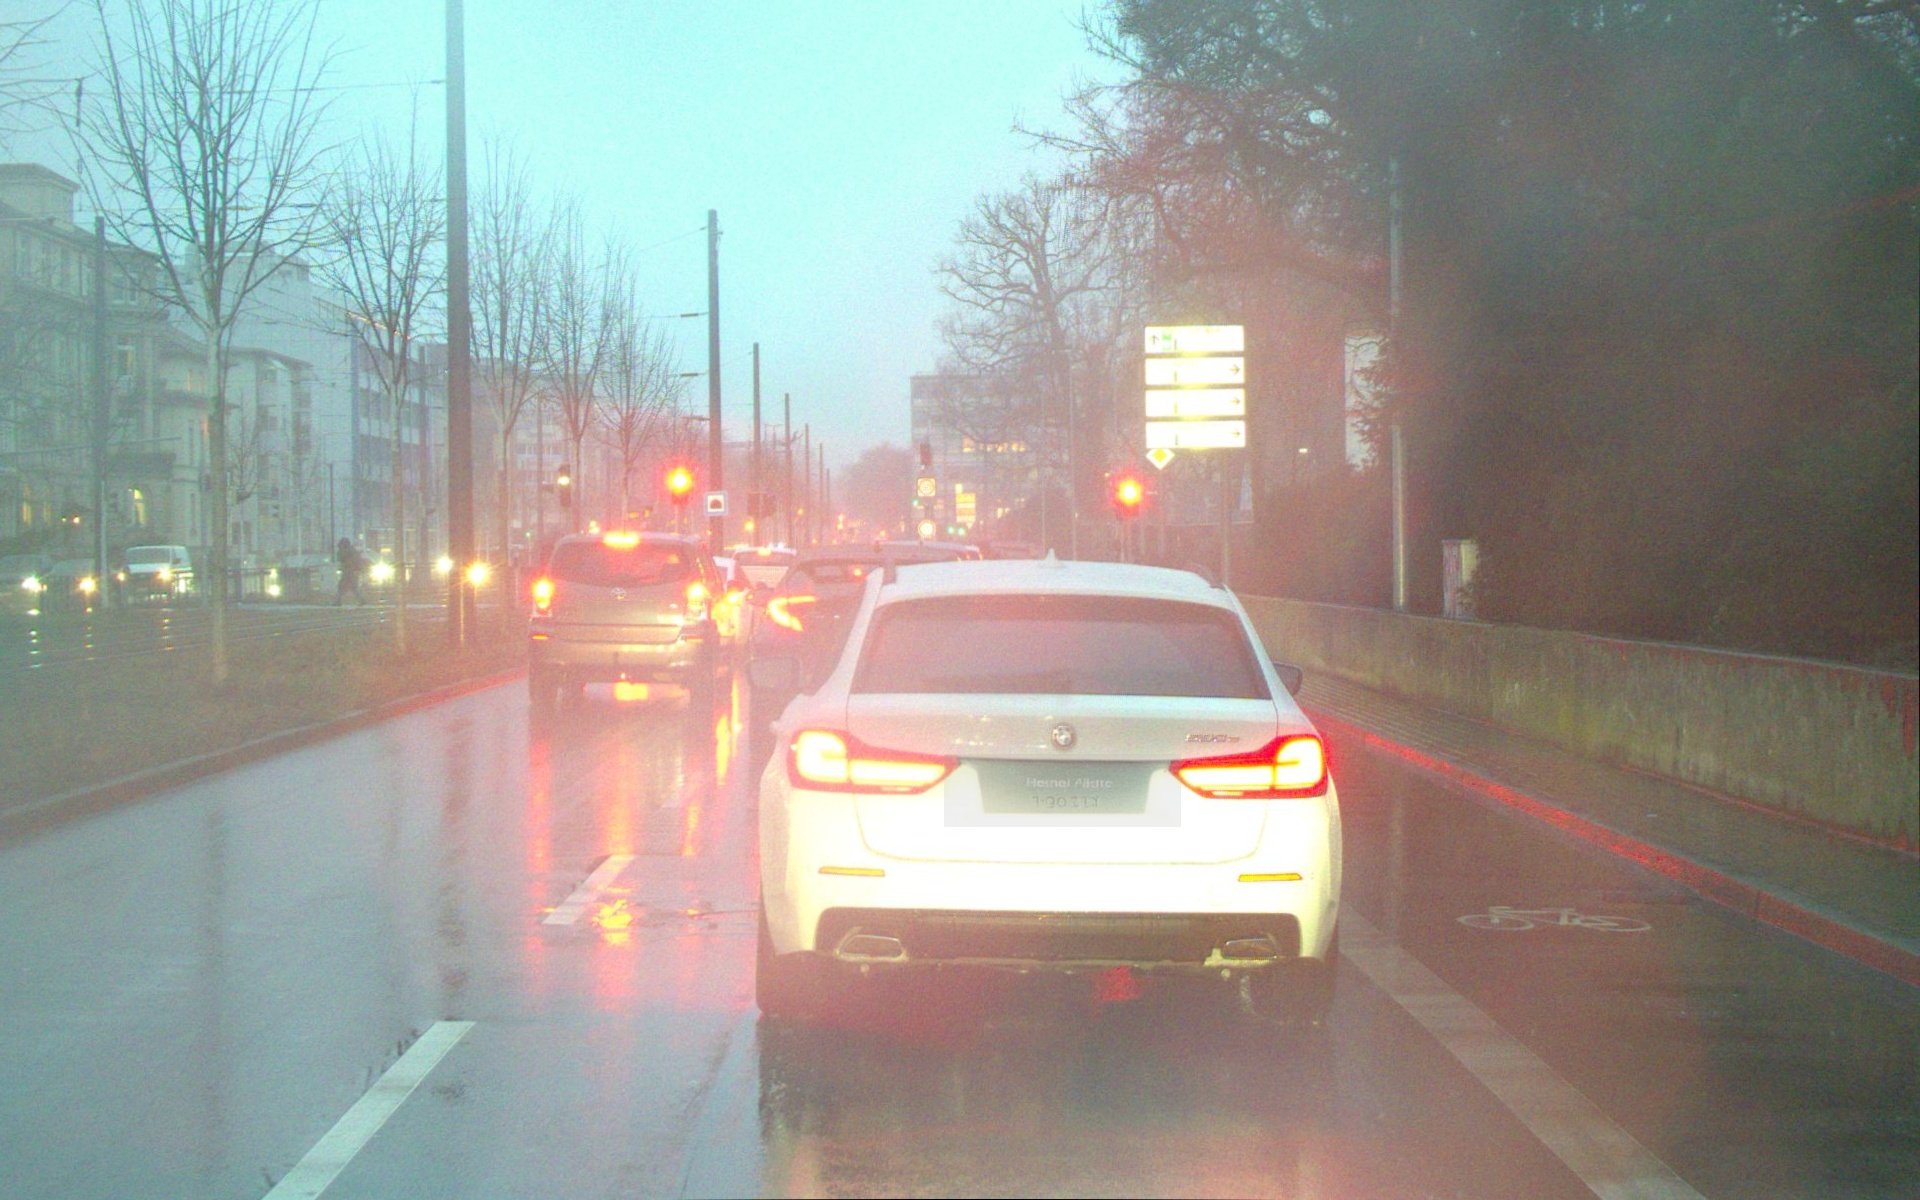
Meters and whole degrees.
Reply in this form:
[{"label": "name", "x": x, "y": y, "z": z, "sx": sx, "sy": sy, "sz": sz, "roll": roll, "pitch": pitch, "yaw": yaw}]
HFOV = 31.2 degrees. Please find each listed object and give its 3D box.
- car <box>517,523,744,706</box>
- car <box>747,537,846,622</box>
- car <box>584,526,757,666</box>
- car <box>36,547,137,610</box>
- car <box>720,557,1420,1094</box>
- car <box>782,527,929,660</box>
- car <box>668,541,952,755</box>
[{"label": "car", "x": -3.116, "y": 0.093, "z": 33.203, "sx": 1.806, "sy": 1.640, "sz": 4.000, "roll": 1, "pitch": 1, "yaw": 0}, {"label": "car", "x": -3.266, "y": -0.436, "z": 69.349, "sx": 1.806, "sy": 1.640, "sz": 4.000, "roll": 1, "pitch": 1, "yaw": 0}, {"label": "car", "x": -3.791, "y": -0.072, "z": 45.630, "sx": 1.993, "sy": 1.749, "sz": 4.000, "roll": 1, "pitch": 1, "yaw": -1}, {"label": "car", "x": -24.559, "y": -0.623, "z": 96.791, "sx": 1.895, "sy": 1.713, "sz": 4.917, "roll": 0, "pitch": 1, "yaw": -4}, {"label": "car", "x": 0.301, "y": 0.624, "z": 11.957, "sx": 1.999, "sy": 1.503, "sz": 4.164, "roll": 0, "pitch": 1, "yaw": 0}, {"label": "car", "x": -1.330, "y": -0.118, "z": 45.074, "sx": 1.806, "sy": 1.640, "sz": 4.000, "roll": 1, "pitch": 1, "yaw": 0}, {"label": "car", "x": -1.045, "y": 0.294, "z": 25.671, "sx": 1.936, "sy": 1.452, "sz": 4.164, "roll": 0, "pitch": 1, "yaw": 0}]
